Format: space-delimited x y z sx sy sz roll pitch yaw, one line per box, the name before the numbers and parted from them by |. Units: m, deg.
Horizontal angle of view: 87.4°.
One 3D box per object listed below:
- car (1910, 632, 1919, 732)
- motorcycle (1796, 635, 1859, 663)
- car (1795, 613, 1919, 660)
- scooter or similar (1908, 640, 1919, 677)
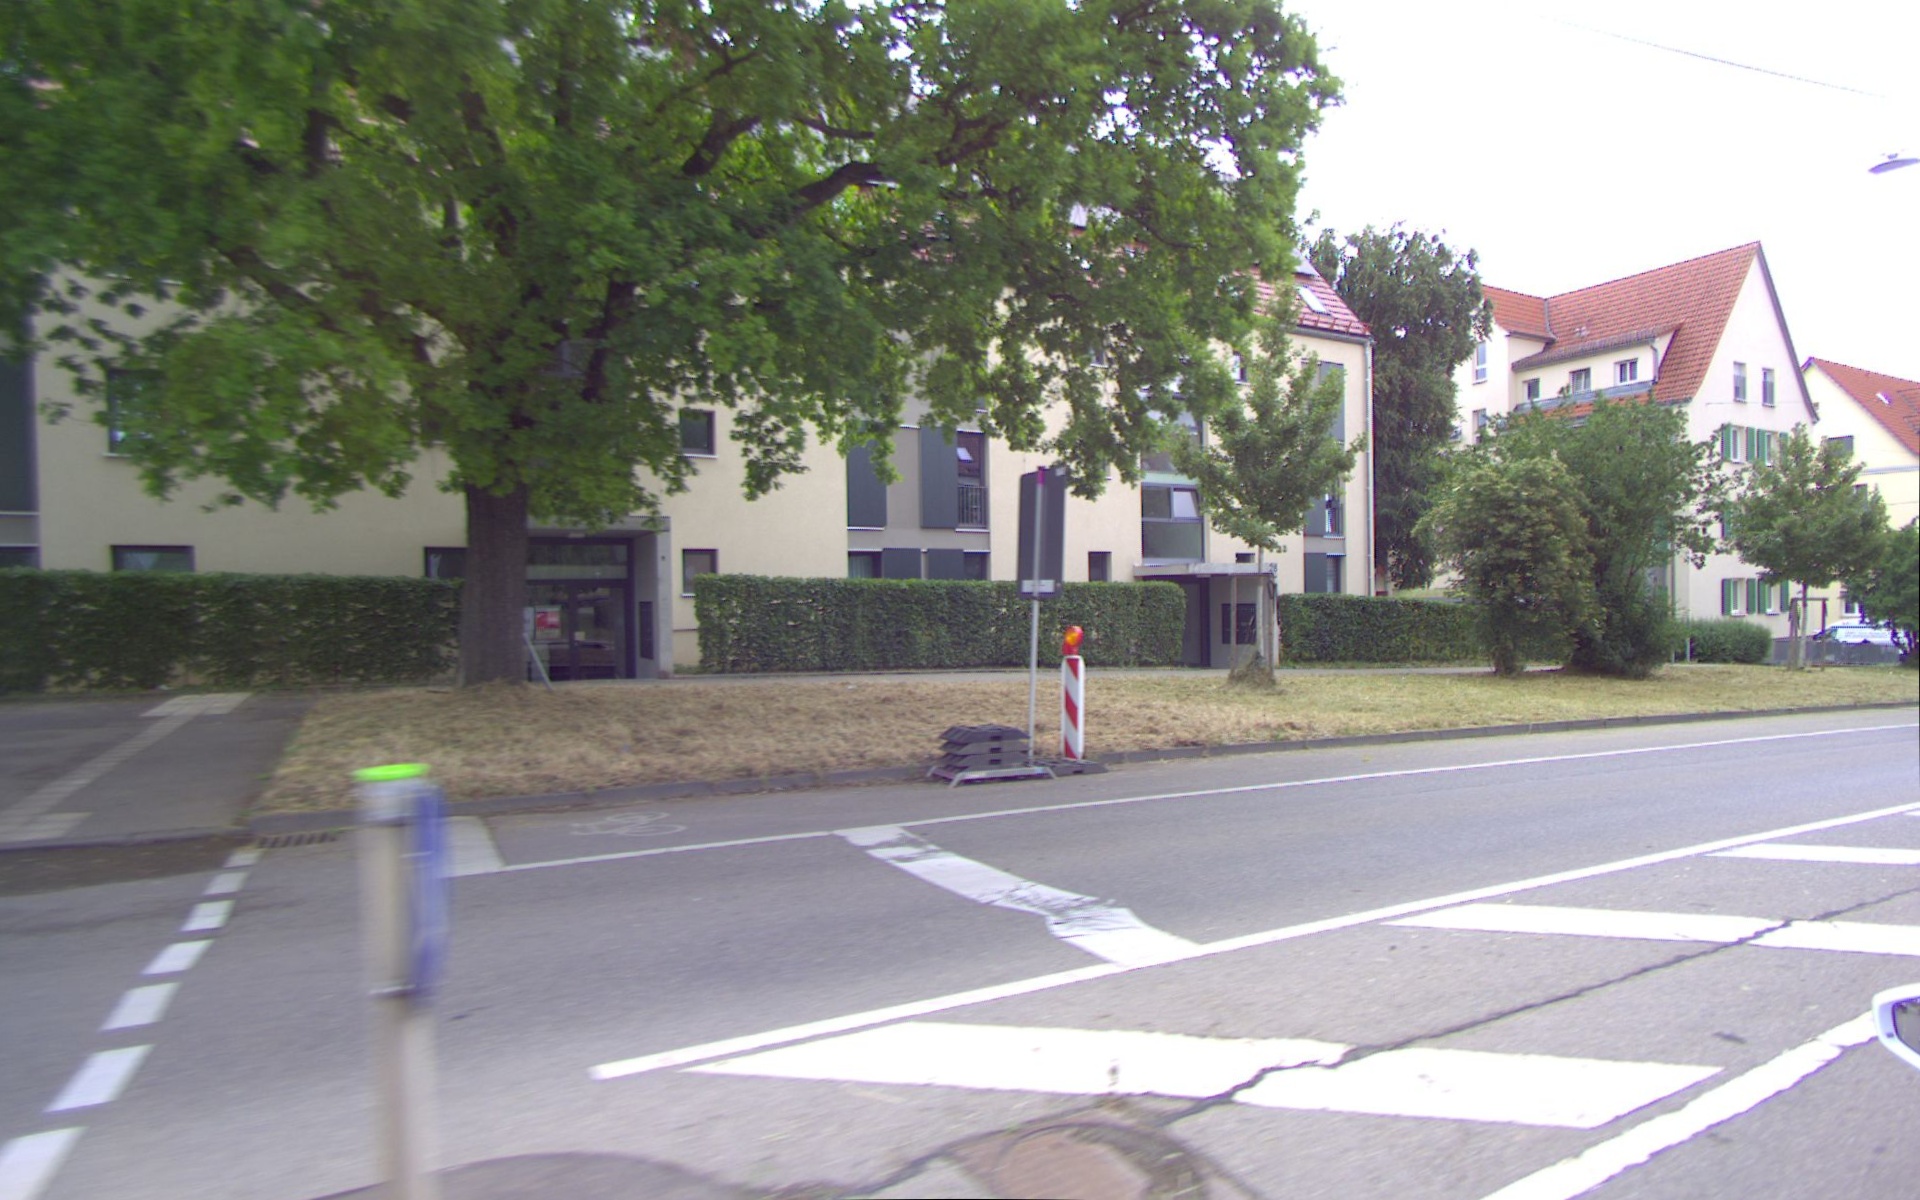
car | 16.341 1.227 15.208 3.982 1.483 1.793 1 -2 -30
motorcycle | 43.199 2.415 50.082 0.996 1.296 2.607 1 0 4
car | 46.389 1.826 51.828 1.970 2.283 4.699 1 -1 -28
scooter or similar | 29.731 1.788 30.455 0.462 1.100 1.362 1 -1 -33
